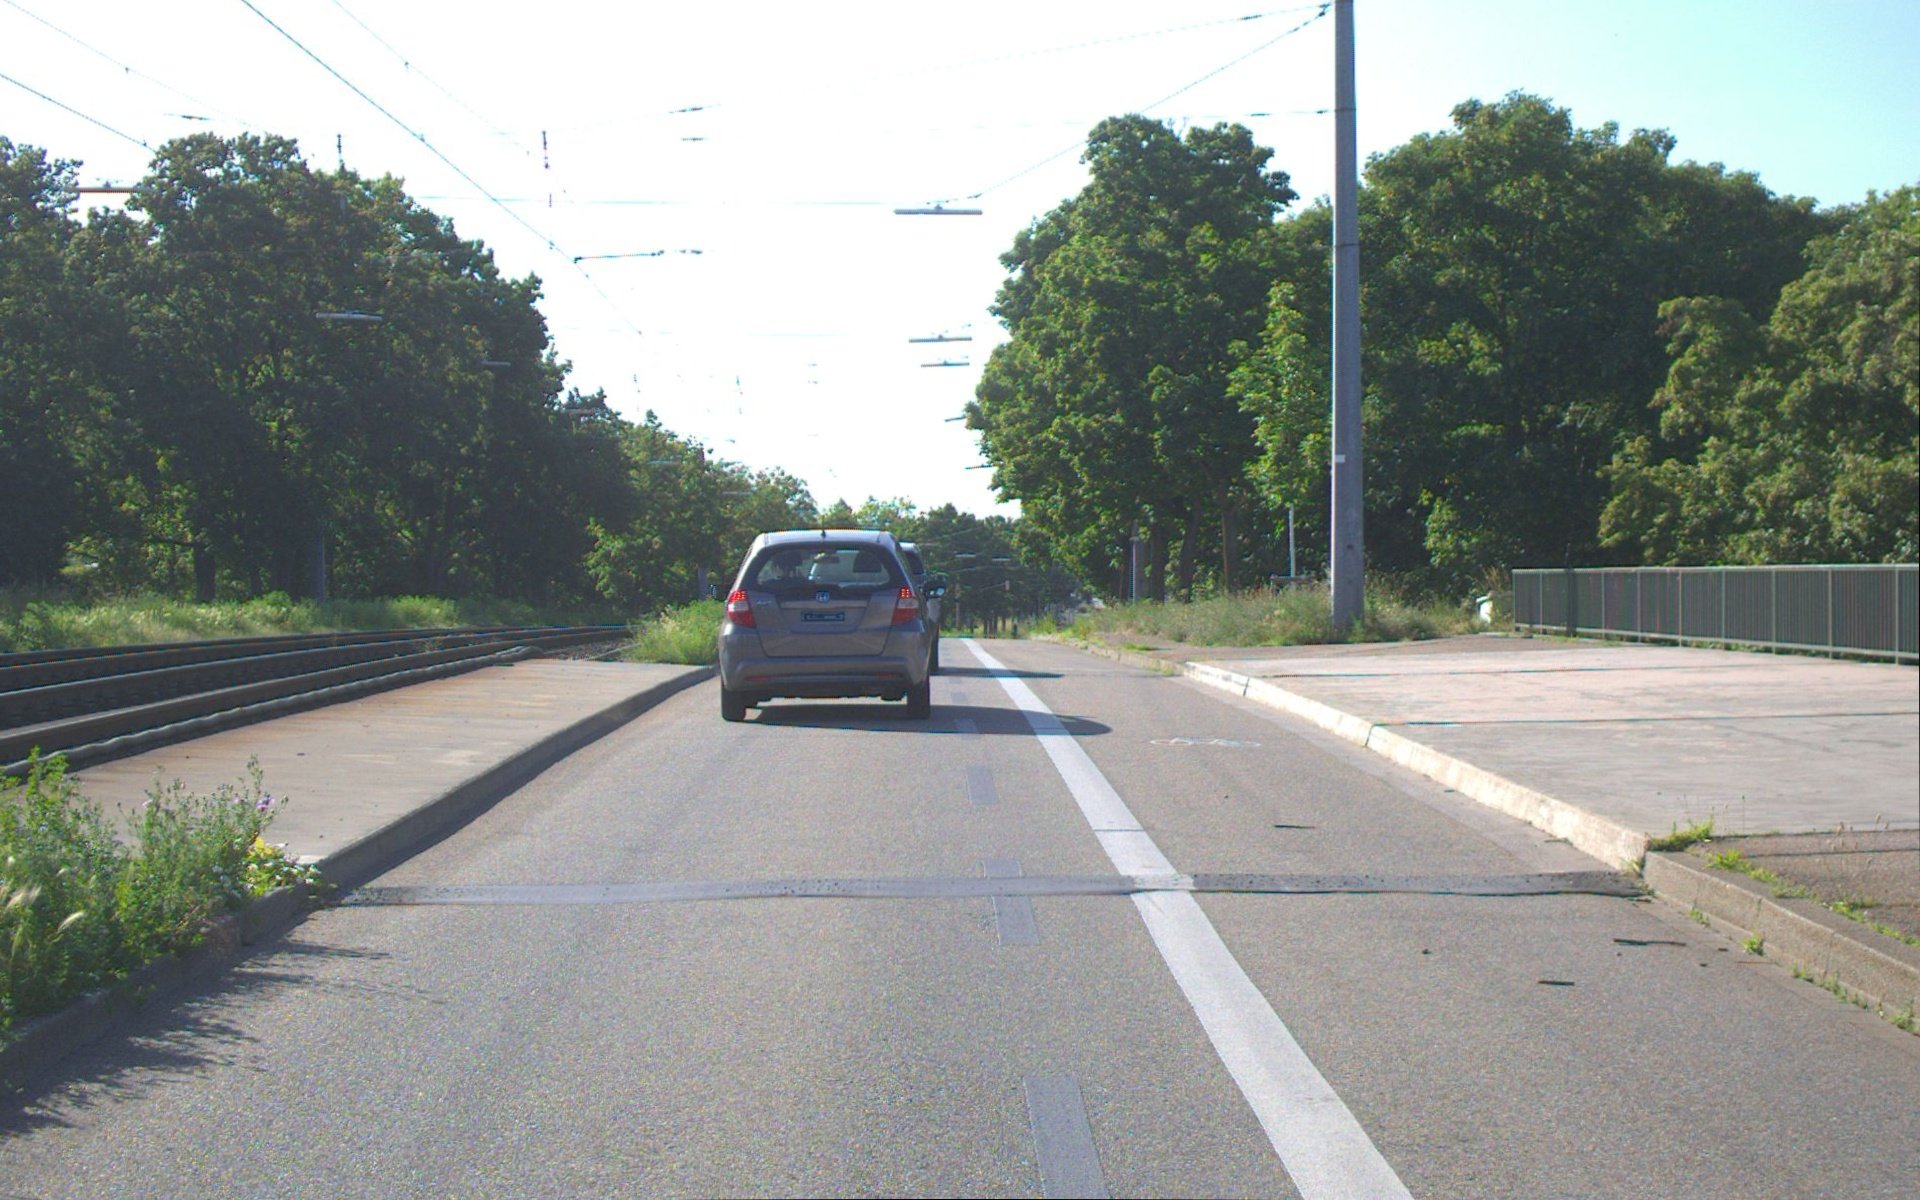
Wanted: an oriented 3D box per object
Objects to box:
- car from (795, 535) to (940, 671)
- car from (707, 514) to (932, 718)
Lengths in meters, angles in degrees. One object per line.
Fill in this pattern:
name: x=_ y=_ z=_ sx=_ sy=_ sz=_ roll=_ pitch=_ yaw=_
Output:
car: x=-1.106 y=0.000 z=42.582 sx=1.654 sy=1.502 sz=3.811 roll=1 pitch=2 yaw=0
car: x=-1.107 y=0.076 z=28.497 sx=1.670 sy=1.502 sz=3.811 roll=1 pitch=2 yaw=0
